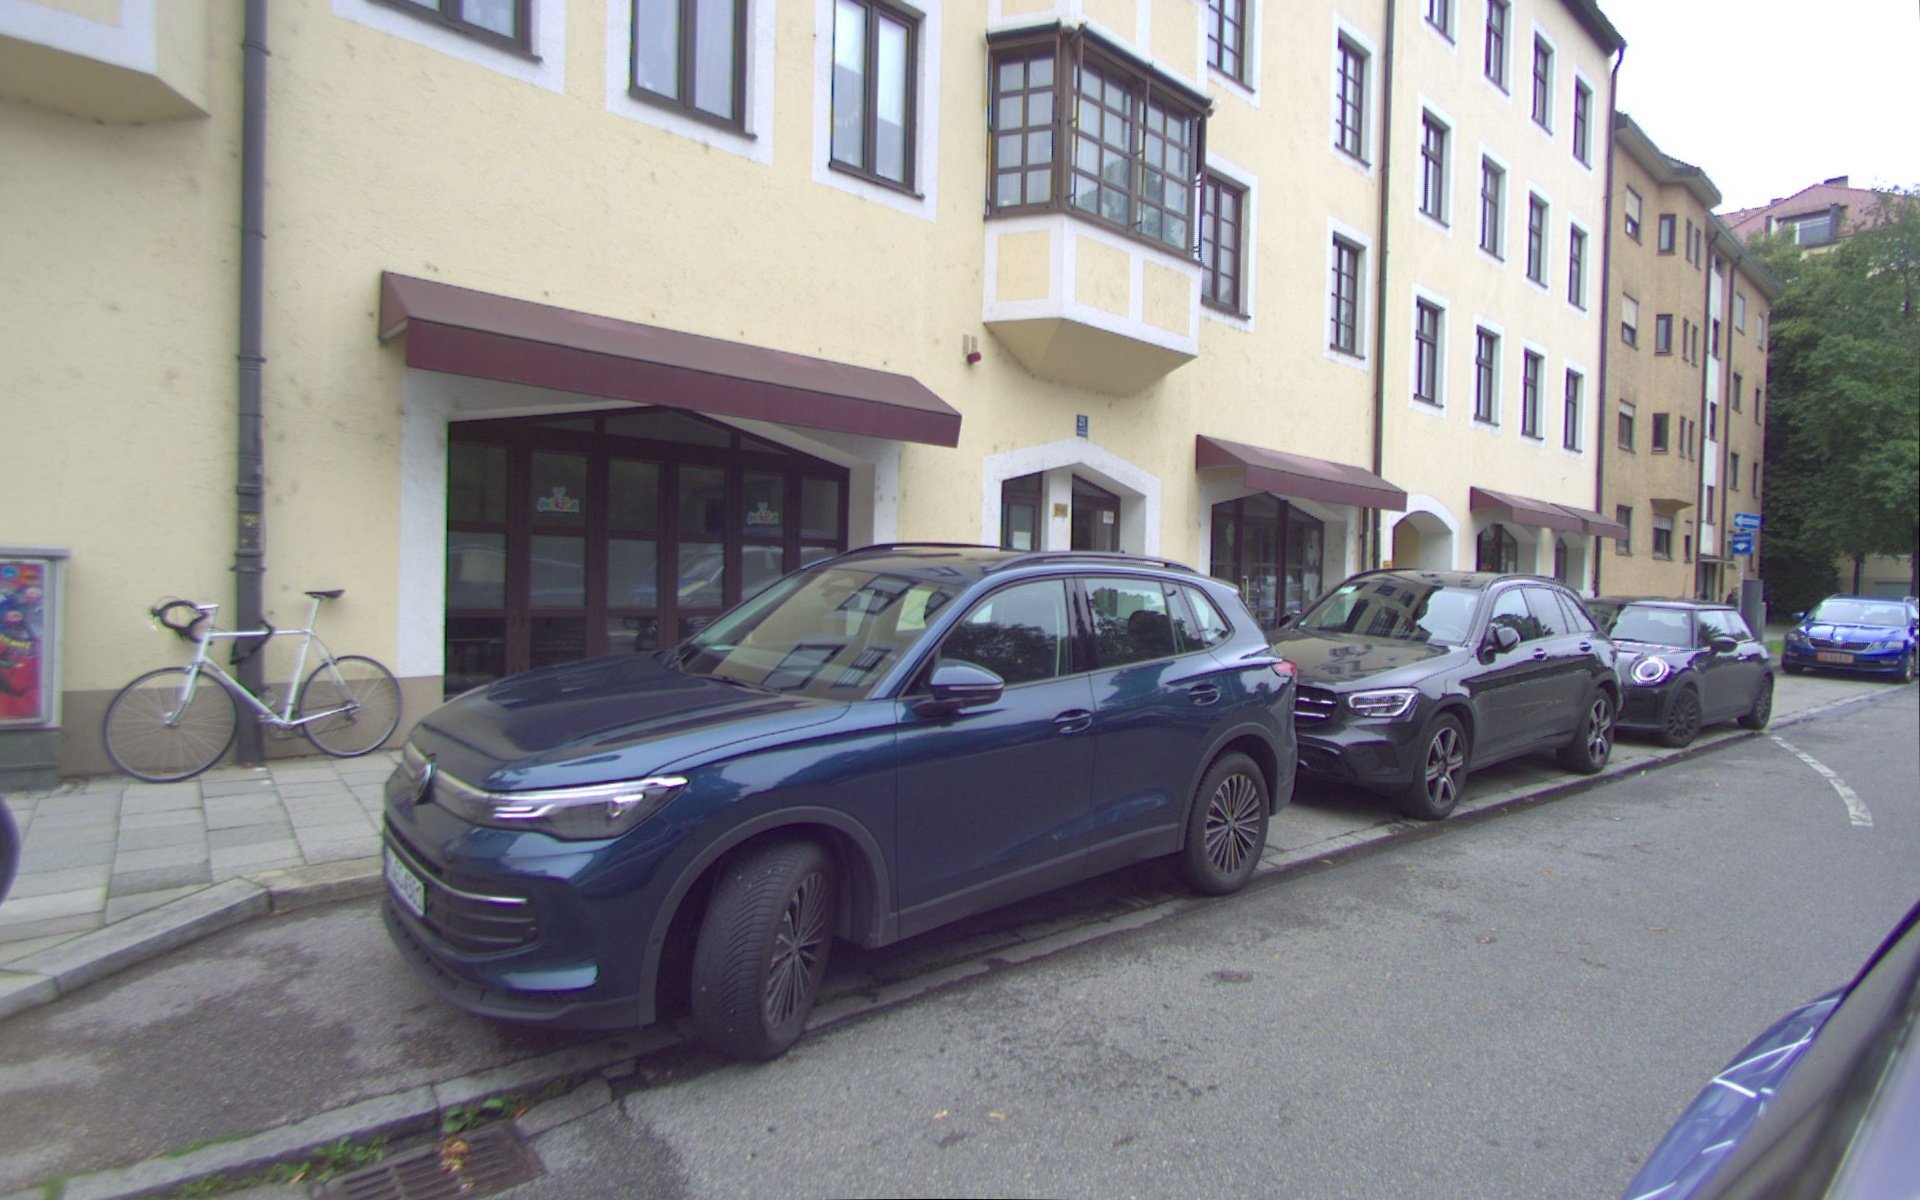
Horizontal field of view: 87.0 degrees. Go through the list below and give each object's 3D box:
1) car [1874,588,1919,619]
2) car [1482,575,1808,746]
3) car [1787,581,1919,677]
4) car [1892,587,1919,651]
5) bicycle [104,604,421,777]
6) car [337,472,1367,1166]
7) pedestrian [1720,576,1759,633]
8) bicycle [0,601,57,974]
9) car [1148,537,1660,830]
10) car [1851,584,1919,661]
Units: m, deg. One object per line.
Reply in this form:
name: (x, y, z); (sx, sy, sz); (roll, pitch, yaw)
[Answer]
car: (48.918, 0.152, 52.379); (4.174, 1.485, 2.050); (0, 2, -43)
car: (7.587, 0.544, 11.114); (3.751, 1.514, 1.763); (0, 3, -36)
car: (17.059, 0.465, 18.765); (4.406, 1.514, 1.761); (0, 3, -39)
car: (24.797, 0.482, 25.305); (3.718, 1.514, 1.632); (0, 3, -39)
bicycle: (-4.420, 0.528, 6.516); (1.656, 0.990, 0.271); (0, 0, -42)
car: (-0.107, 0.484, 4.626); (4.432, 1.700, 1.822); (0, 3, -42)
pedestrian: (22.936, 0.115, 29.760); (0.962, 1.644, 0.672); (-1, 2, -38)
bicycle: (-3.991, 0.623, 2.983); (1.960, 1.223, 0.515); (0, 1, -41)
car: (3.717, 0.441, 8.038); (4.622, 1.700, 1.761); (0, 3, -39)
car: (20.979, 0.470, 21.996); (4.354, 1.514, 1.695); (0, 3, -39)
